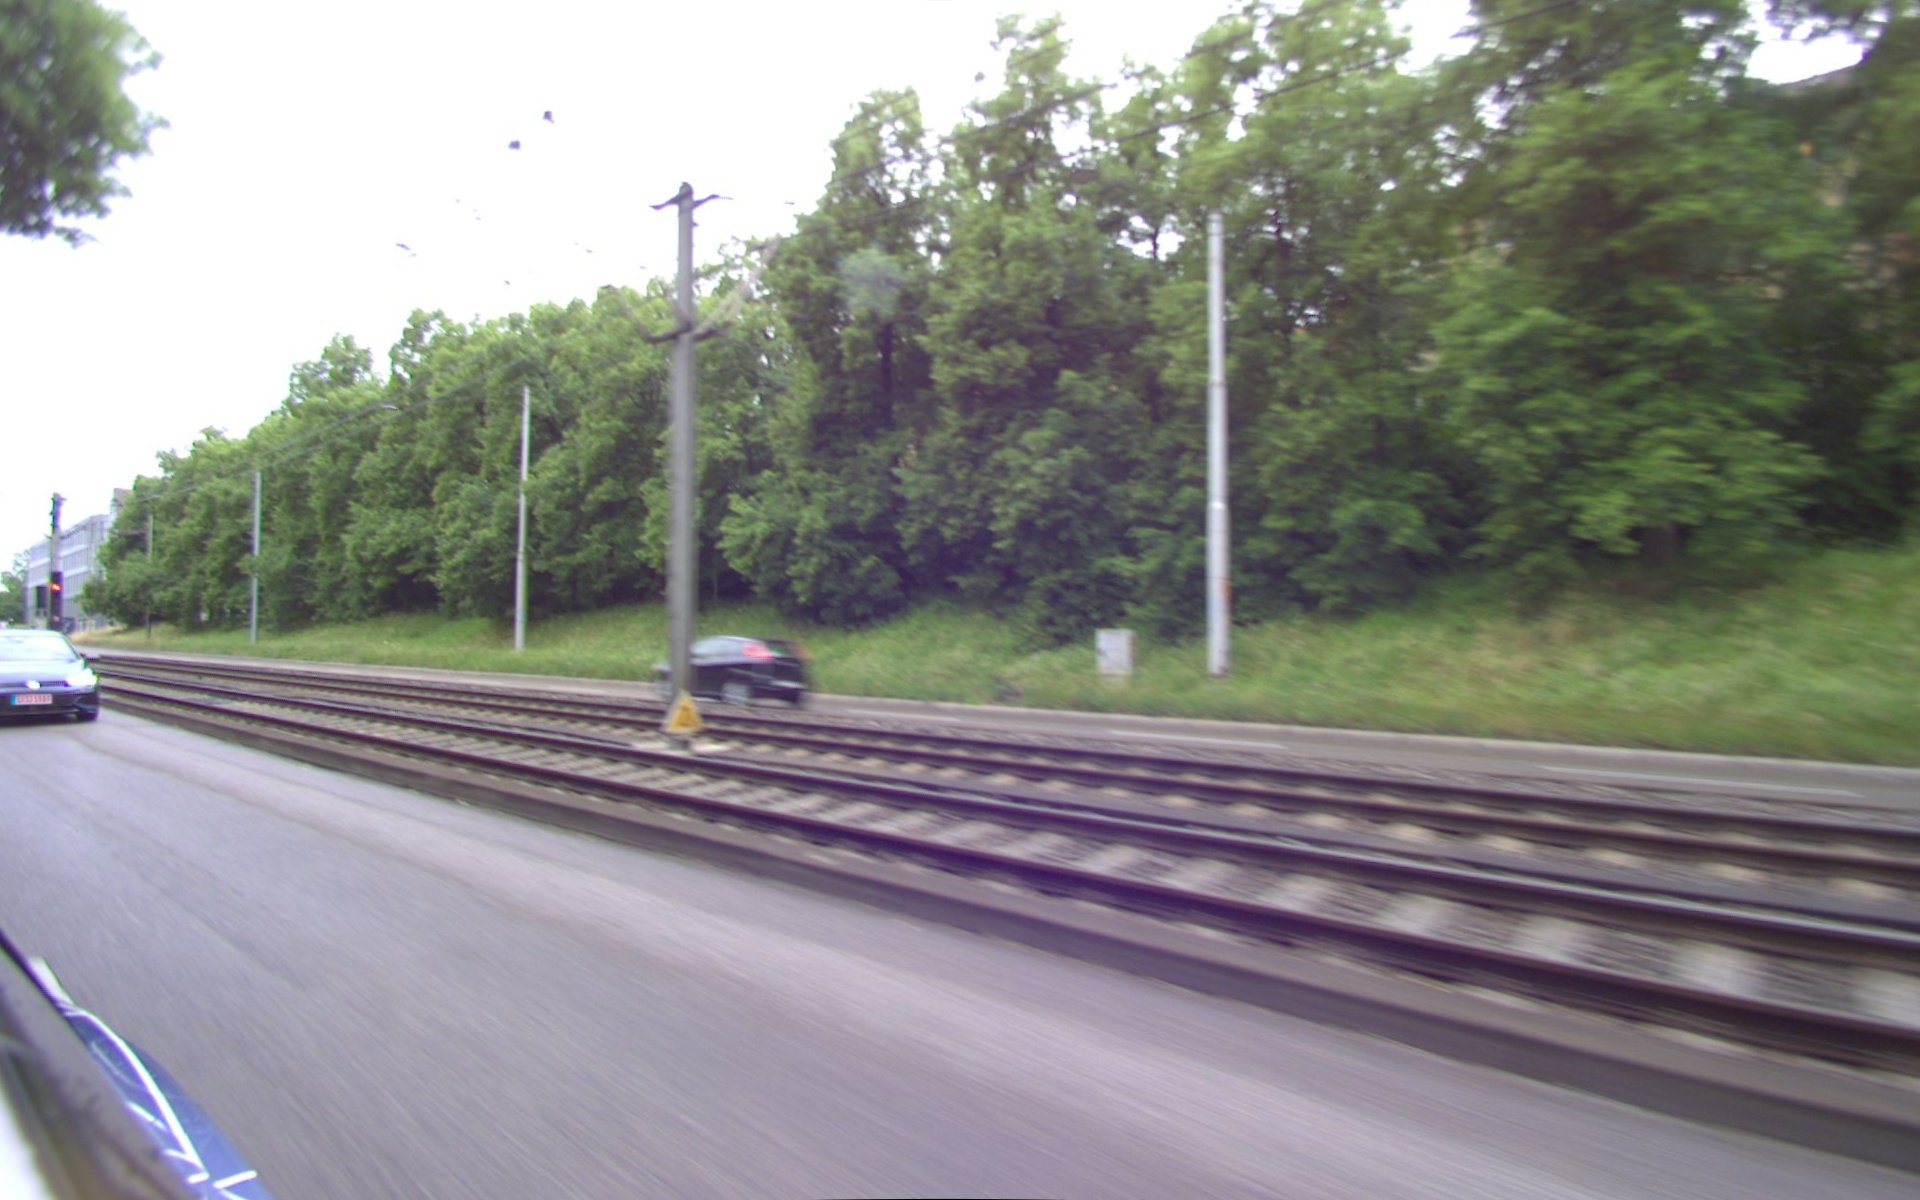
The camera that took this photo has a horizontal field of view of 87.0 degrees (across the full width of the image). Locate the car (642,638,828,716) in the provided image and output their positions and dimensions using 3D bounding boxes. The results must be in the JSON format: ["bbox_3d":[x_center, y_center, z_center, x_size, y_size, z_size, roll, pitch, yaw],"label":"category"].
[{"bbox_3d":[-4.747,1.566,21.081,4.024,1.454,1.652,-1,-5,40],"label":"car"}]

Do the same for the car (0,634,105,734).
[{"bbox_3d":[-15.296,1.285,16.283,3.831,1.459,1.748,-2,-3,41],"label":"car"}]
